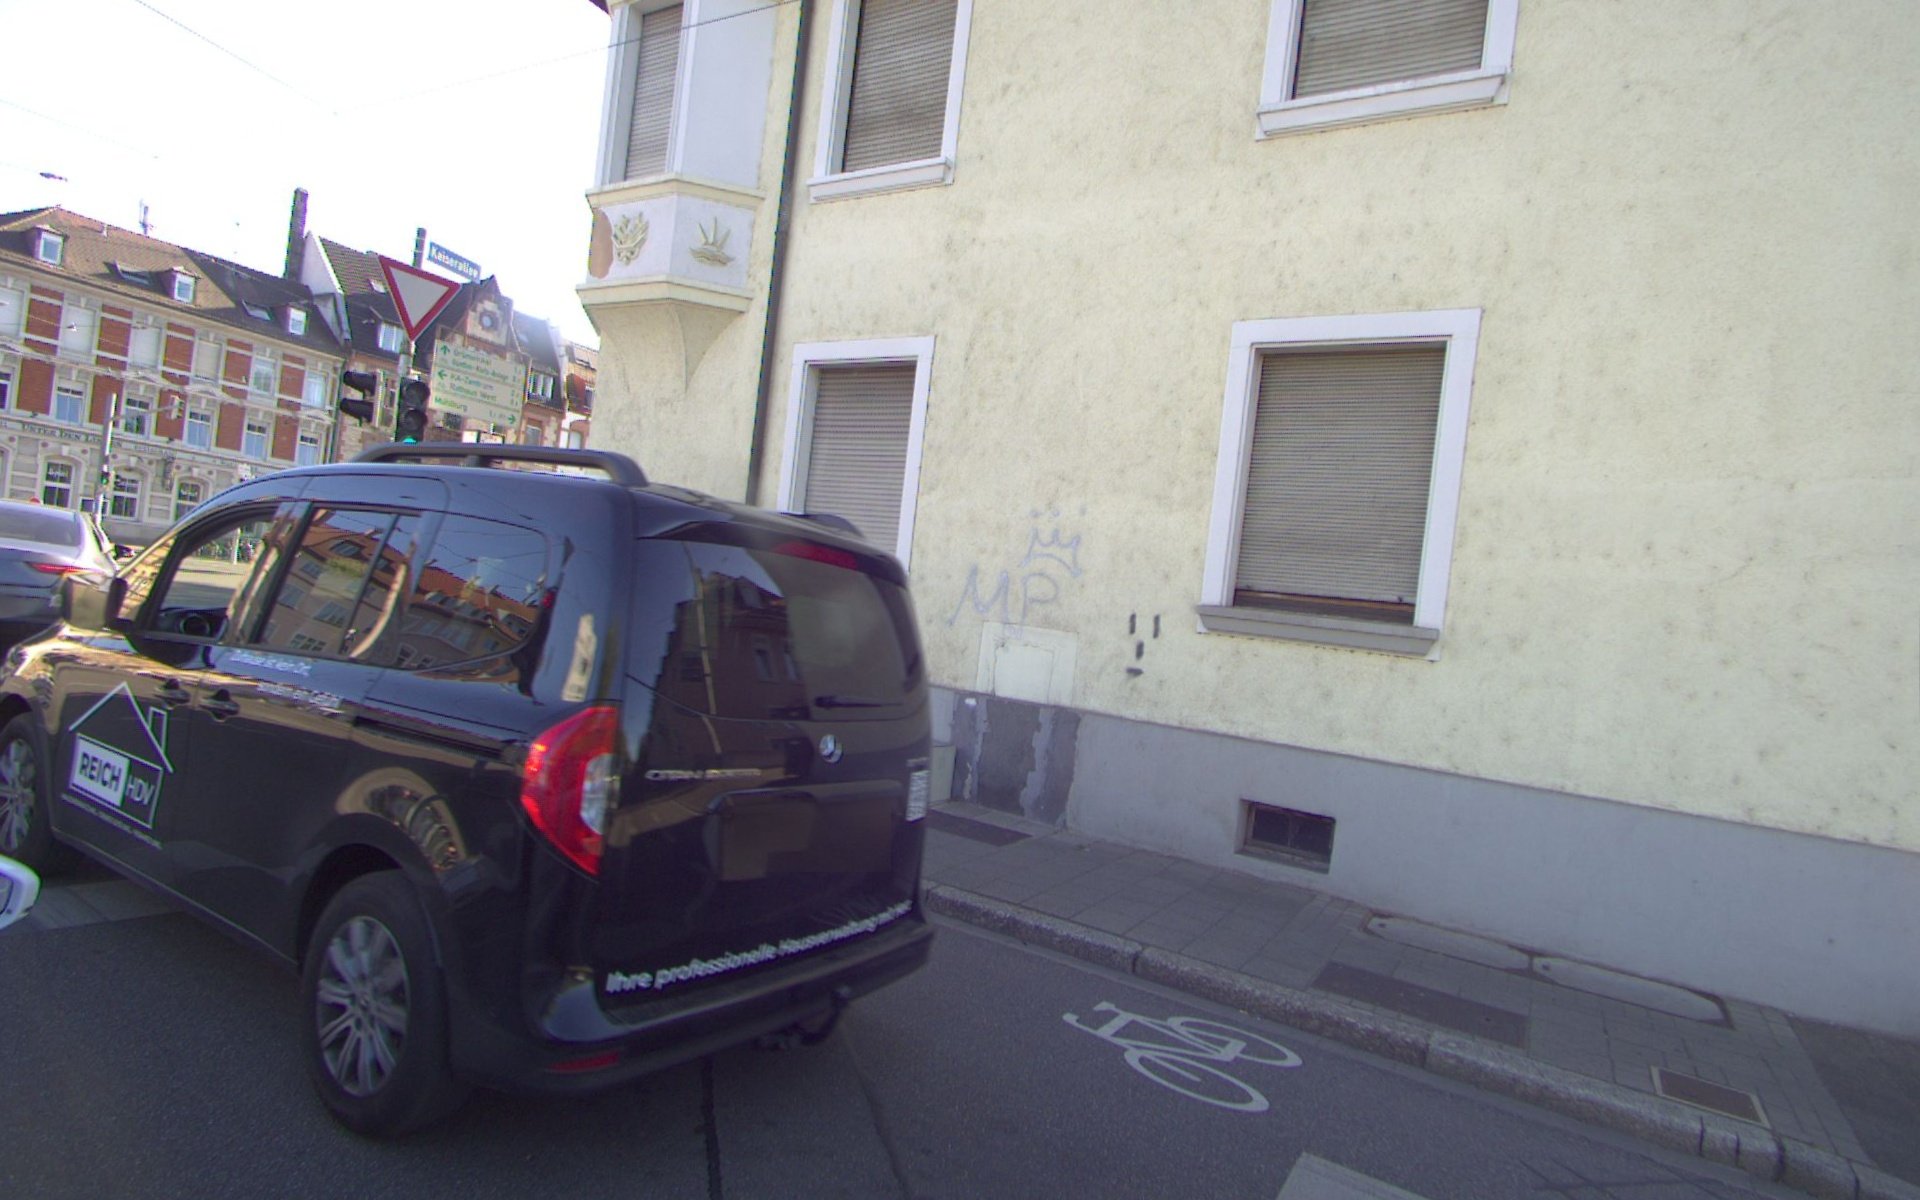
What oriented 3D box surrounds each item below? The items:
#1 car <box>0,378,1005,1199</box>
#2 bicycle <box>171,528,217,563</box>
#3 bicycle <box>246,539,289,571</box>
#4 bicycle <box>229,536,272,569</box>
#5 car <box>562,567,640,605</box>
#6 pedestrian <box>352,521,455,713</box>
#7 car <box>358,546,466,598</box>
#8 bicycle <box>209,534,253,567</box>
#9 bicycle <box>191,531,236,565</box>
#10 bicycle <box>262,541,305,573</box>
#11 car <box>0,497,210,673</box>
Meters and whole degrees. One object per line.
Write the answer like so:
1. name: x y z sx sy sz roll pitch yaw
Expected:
1. car: -2.400 0.302 4.213 4.700 1.825 1.865 6 -2 32
2. bicycle: -34.604 -2.467 45.415 2.618 1.301 0.693 6 -1 33
3. bicycle: -33.049 -2.152 47.998 2.618 1.301 0.629 6 -1 33
4. bicycle: -33.415 -2.227 47.368 2.618 1.301 0.629 6 -1 33
5. car: -23.243 -0.879 65.291 1.967 1.798 4.374 6 -2 31
6. pedestrian: -5.428 0.155 9.837 0.631 1.780 0.584 4 3 -7
7. car: -25.486 -1.264 46.909 1.967 1.798 3.790 6 -2 31
8. bicycle: -33.831 -2.315 46.696 2.618 1.301 0.629 6 -1 33
9. bicycle: -34.199 -2.376 46.071 2.618 1.301 0.693 6 -1 33
10. bicycle: -32.679 -2.079 48.587 2.618 1.301 0.629 6 -1 33
11. car: -9.746 -0.296 10.202 4.419 1.436 1.910 6 -2 33
